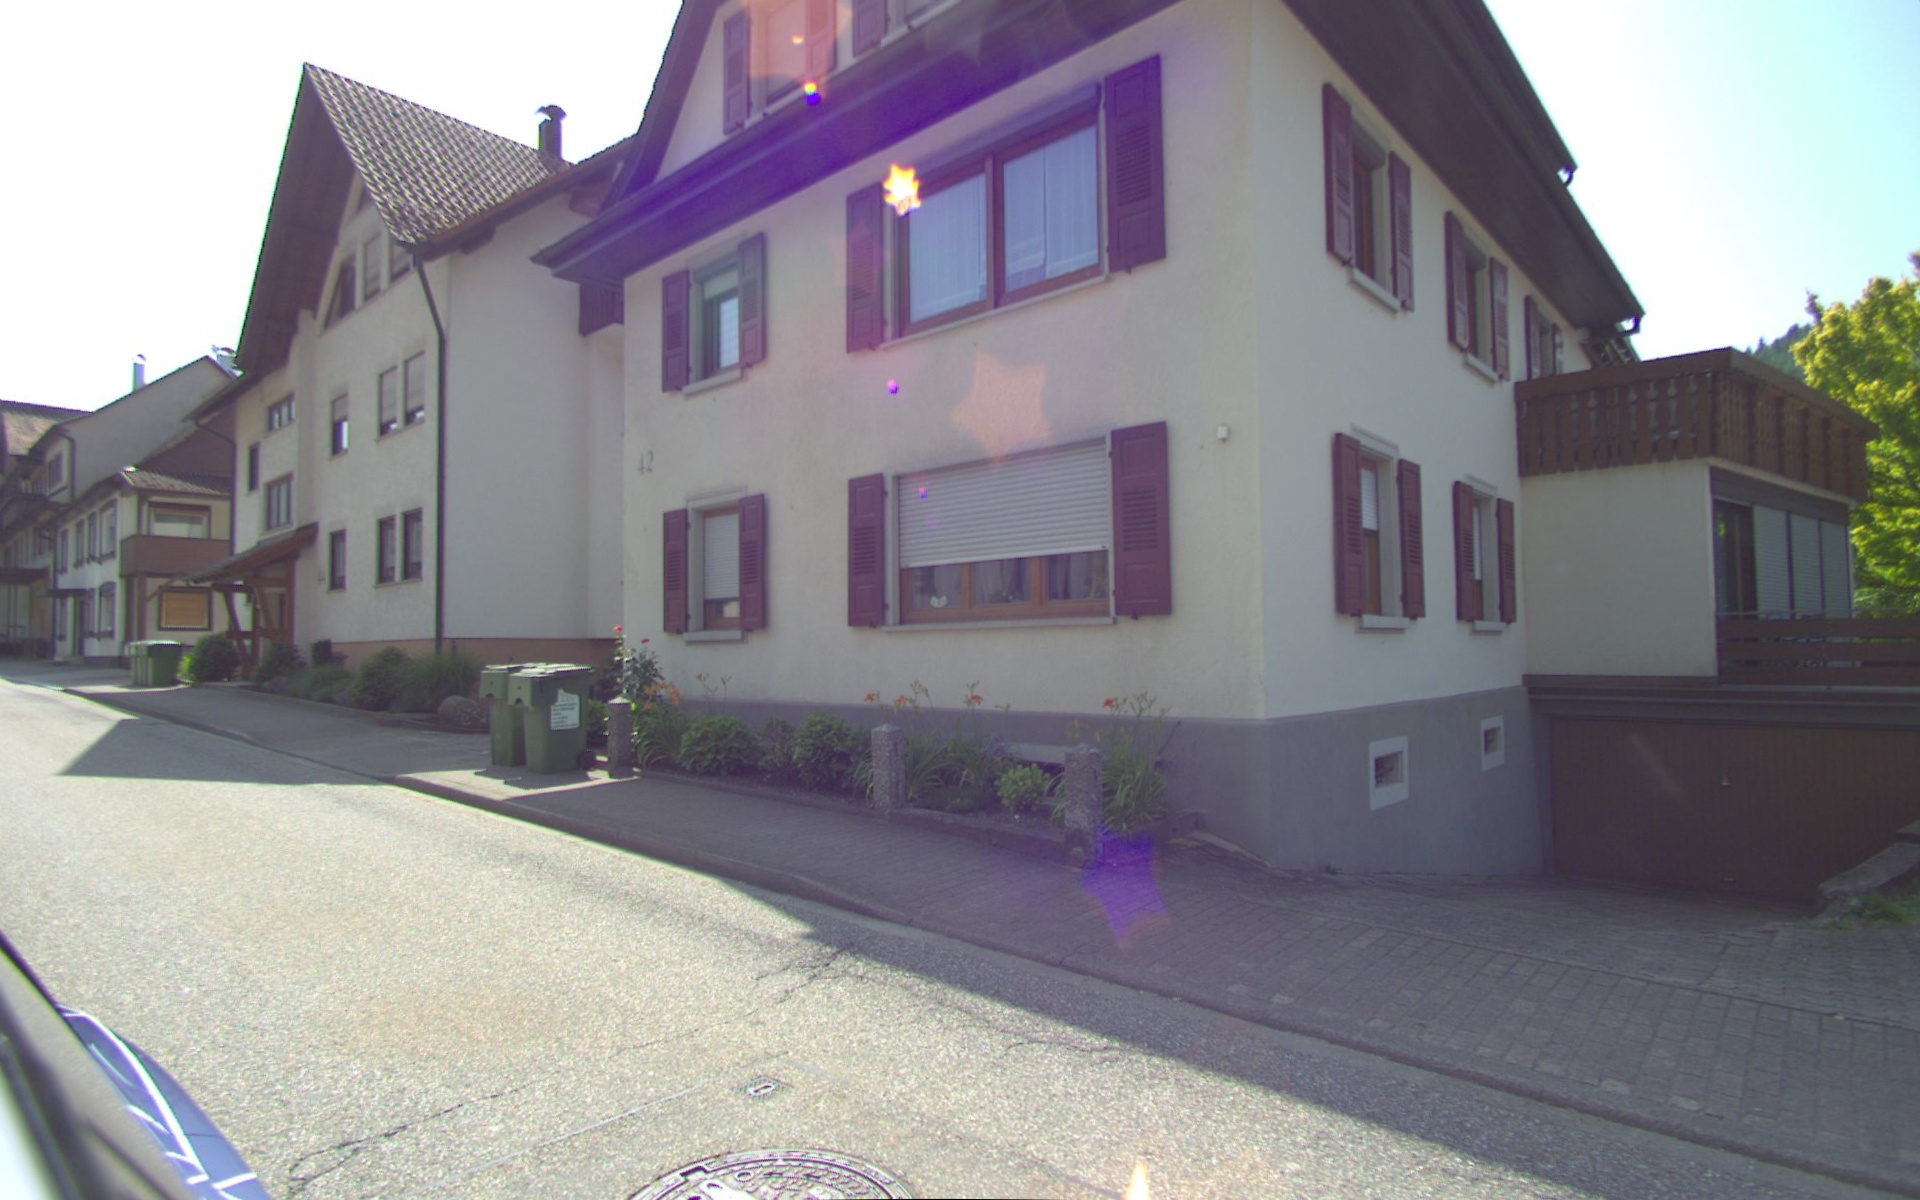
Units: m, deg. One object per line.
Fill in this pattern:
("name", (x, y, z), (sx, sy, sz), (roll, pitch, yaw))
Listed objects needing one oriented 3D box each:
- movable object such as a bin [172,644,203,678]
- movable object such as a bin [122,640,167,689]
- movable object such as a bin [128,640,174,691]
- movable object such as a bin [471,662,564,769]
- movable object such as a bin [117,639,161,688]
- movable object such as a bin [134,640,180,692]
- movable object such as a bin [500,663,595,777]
("movable object such as a bin", (-24.925, 1.965, 32.643), (0.696, 1.059, 0.615), (-1, -4, 41))
("movable object such as a bin", (-19.958, 1.577, 24.767), (0.598, 1.190, 0.710), (-2, -5, 42))
("movable object such as a bin", (-19.460, 1.570, 24.348), (0.598, 1.190, 0.710), (-2, -5, 42))
("movable object such as a bin", (-4.743, 1.212, 10.848), (0.653, 1.075, 0.669), (-1, -3, 39))
("movable object such as a bin", (-20.444, 1.584, 25.214), (0.598, 1.190, 0.710), (-2, -5, 42))
("movable object such as a bin", (-18.967, 1.564, 23.913), (0.598, 1.190, 0.710), (-2, -5, 42))
("movable object such as a bin", (-4.181, 1.194, 10.268), (0.621, 1.075, 0.669), (-1, -3, 39))
